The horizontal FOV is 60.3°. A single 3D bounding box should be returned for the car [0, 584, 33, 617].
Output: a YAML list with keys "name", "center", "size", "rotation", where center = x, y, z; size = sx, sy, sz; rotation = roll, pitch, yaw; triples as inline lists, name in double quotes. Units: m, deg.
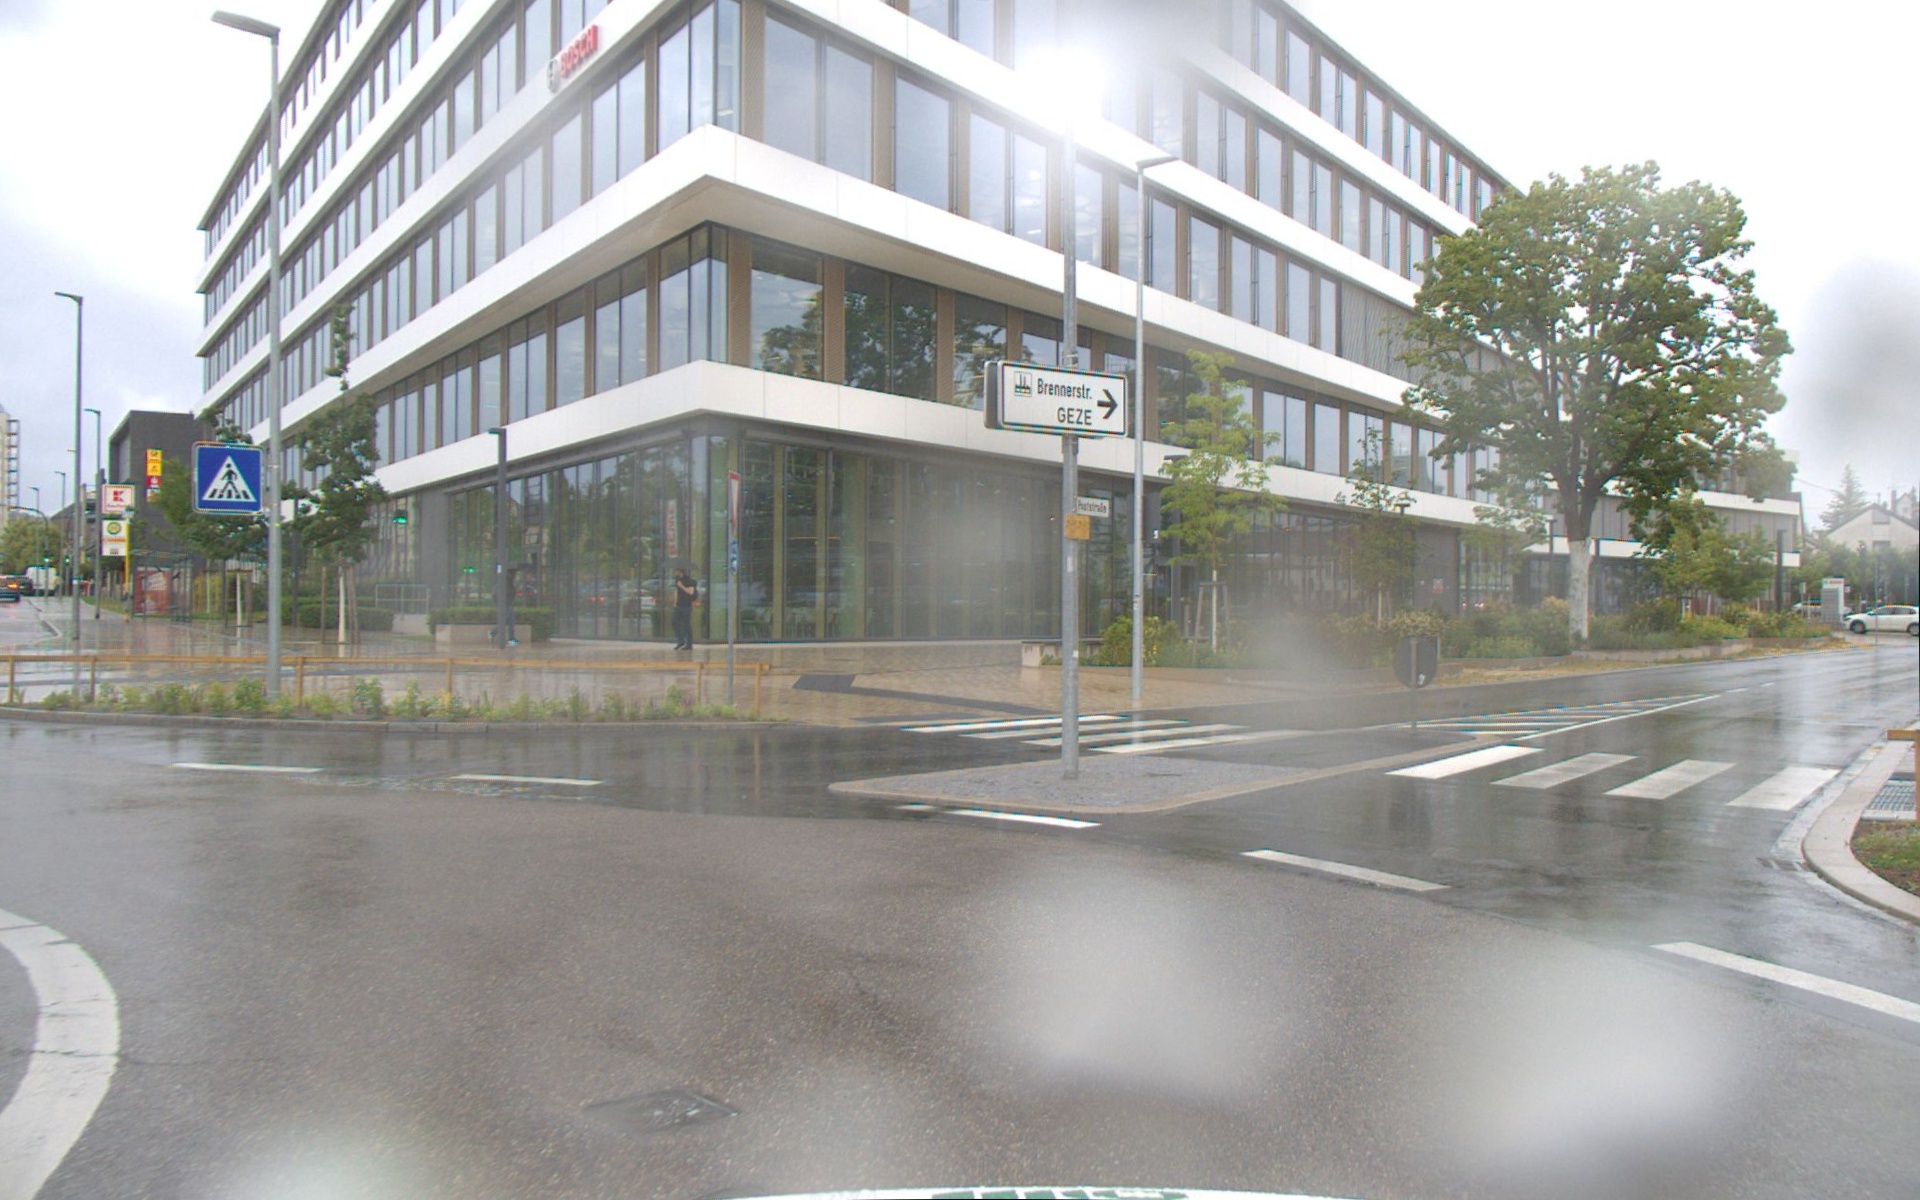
- name: "car"
  center: [-61.170, 0.016, 106.936]
  size: [1.971, 1.891, 3.964]
  rotation: [3, 1, -29]

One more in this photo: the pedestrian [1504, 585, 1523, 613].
- name: "pedestrian"
  center: [35.662, -0.065, 106.578]
  size: [0.995, 1.754, 0.770]
  rotation: [1, 1, 33]

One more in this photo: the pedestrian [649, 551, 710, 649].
- name: "pedestrian"
  center: [-5.960, -0.002, 35.211]
  size: [0.874, 2.049, 0.929]
  rotation: [1, 0, 32]

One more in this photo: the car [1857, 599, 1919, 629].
- name: "car"
  center: [46.707, 0.665, 81.877]
  size: [3.863, 1.448, 1.890]
  rotation: [0, 0, 37]

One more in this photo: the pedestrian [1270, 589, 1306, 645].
- name: "pedestrian"
  center: [10.686, 0.558, 53.871]
  size: [0.713, 1.733, 0.952]
  rotation: [4, 1, 39]

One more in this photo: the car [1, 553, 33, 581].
- name: "car"
  center: [-73.015, -2.579, 128.128]
  size: [1.971, 1.891, 3.964]
  rotation: [3, 1, -29]

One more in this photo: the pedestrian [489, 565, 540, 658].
- name: "pedestrian"
  center: [-10.661, 0.258, 39.558]
  size: [0.991, 2.183, 0.923]
  rotation: [1, 0, -28]
